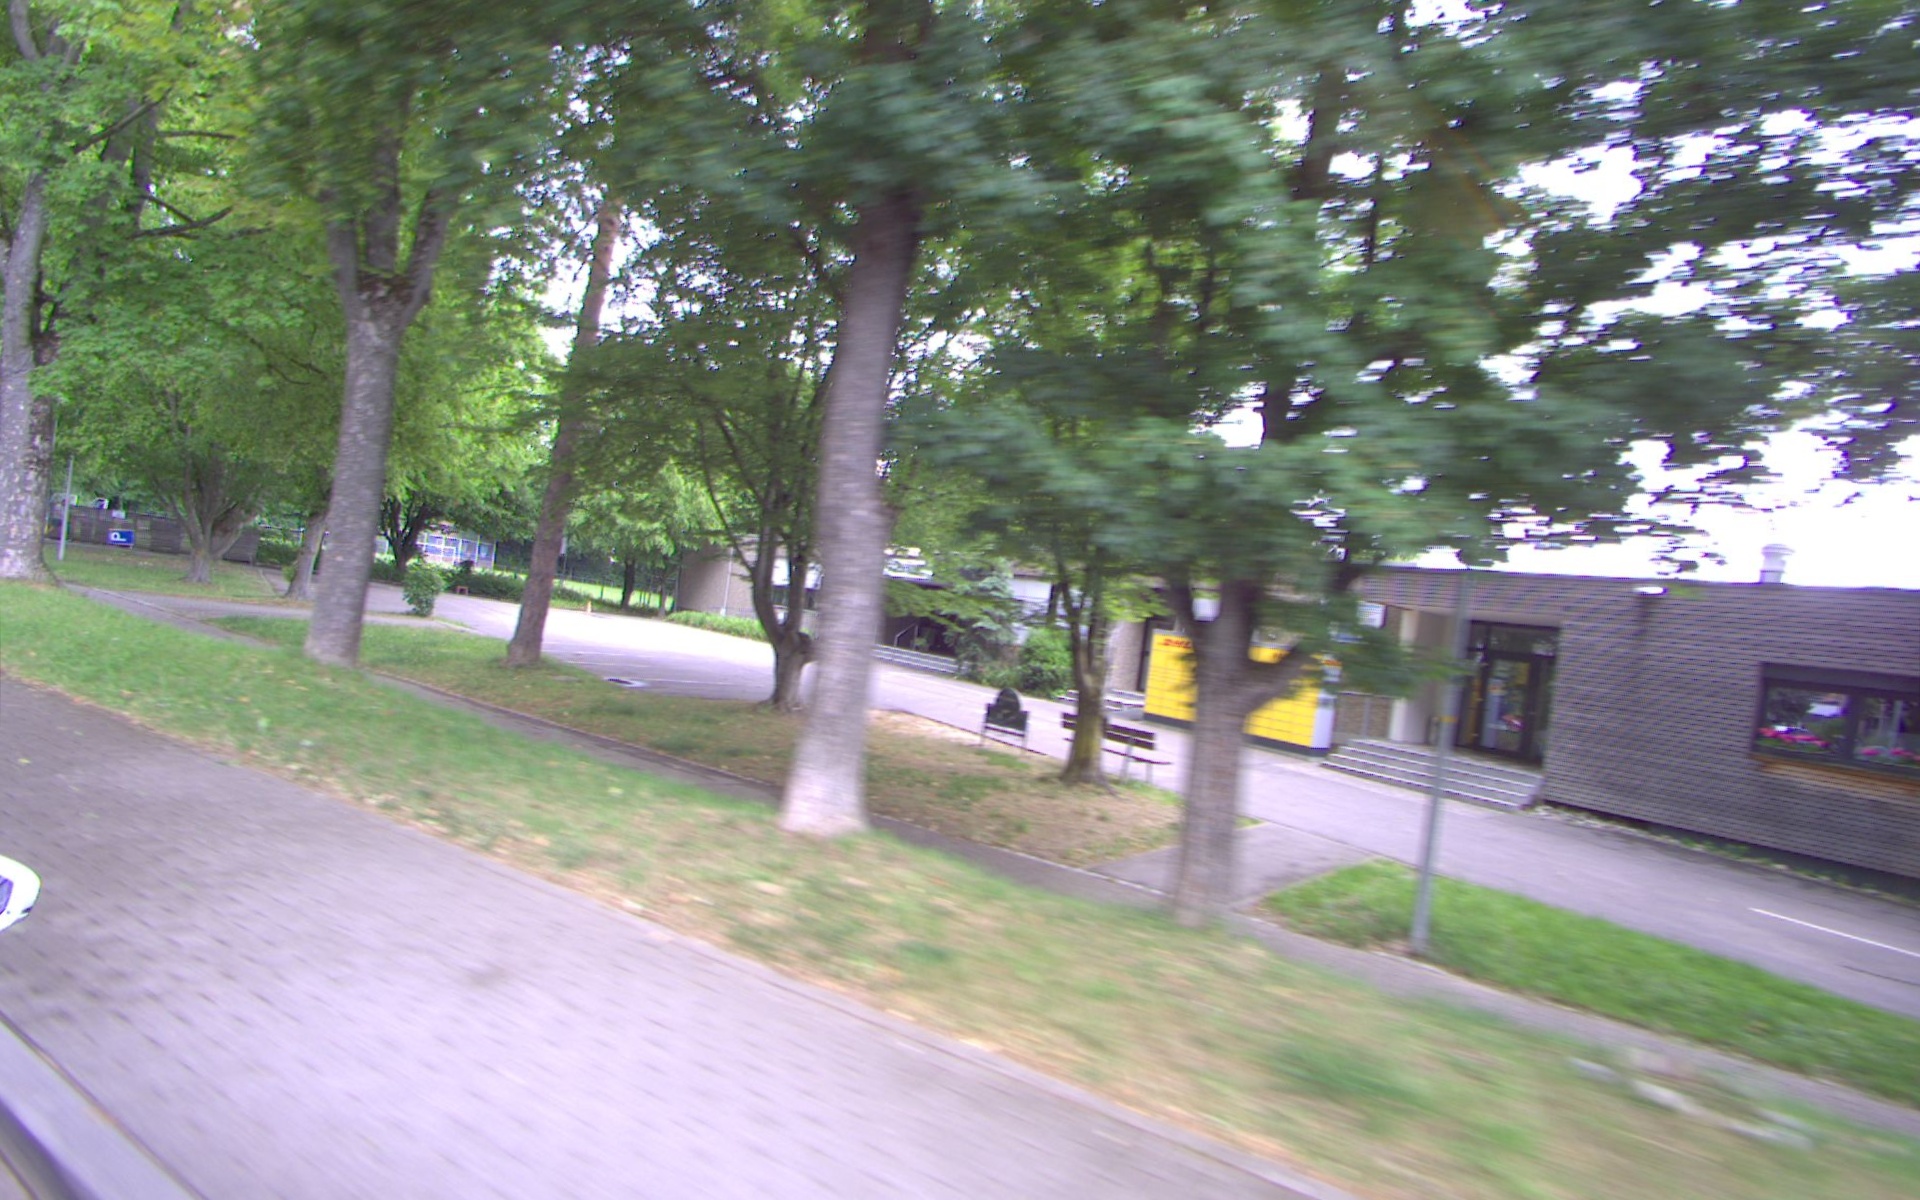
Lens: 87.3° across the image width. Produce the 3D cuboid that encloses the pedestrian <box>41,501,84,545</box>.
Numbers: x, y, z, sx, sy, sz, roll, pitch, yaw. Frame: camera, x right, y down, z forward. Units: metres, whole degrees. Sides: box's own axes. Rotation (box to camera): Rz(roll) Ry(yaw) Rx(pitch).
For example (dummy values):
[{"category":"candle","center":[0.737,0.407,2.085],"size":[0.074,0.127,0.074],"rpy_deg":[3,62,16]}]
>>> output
[{"category":"pedestrian","center":[-37.678,-3.217,42.249],"size":[1.140,1.695,0.786],"rpy_deg":[6,0,-34]}]
